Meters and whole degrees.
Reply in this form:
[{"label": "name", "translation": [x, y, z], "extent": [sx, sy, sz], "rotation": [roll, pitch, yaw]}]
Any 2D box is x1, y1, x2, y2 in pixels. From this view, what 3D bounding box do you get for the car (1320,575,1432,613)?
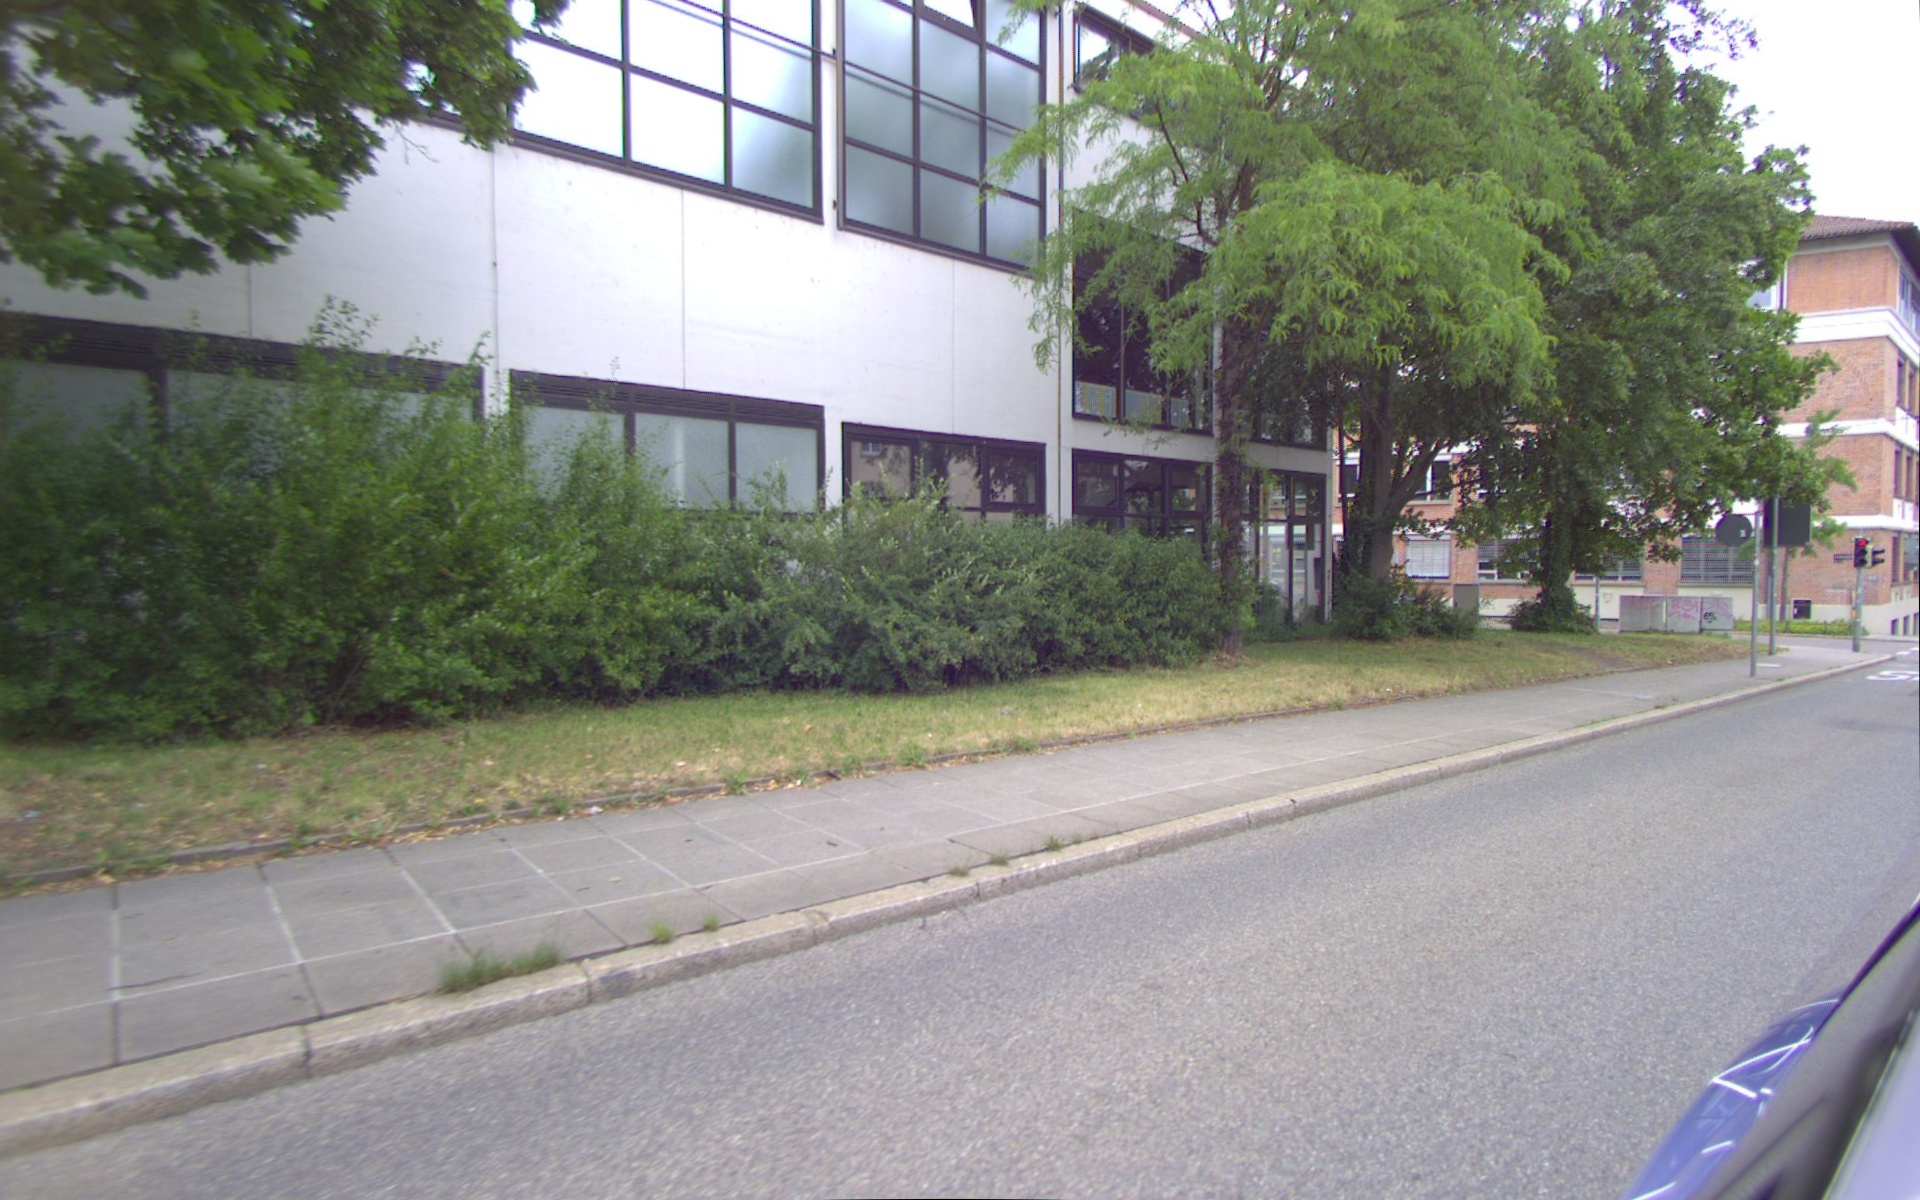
[{"label": "car", "translation": [18.365, -0.257, 44.711], "extent": [4.379, 1.423, 1.755], "rotation": [3, -1, 28]}]
